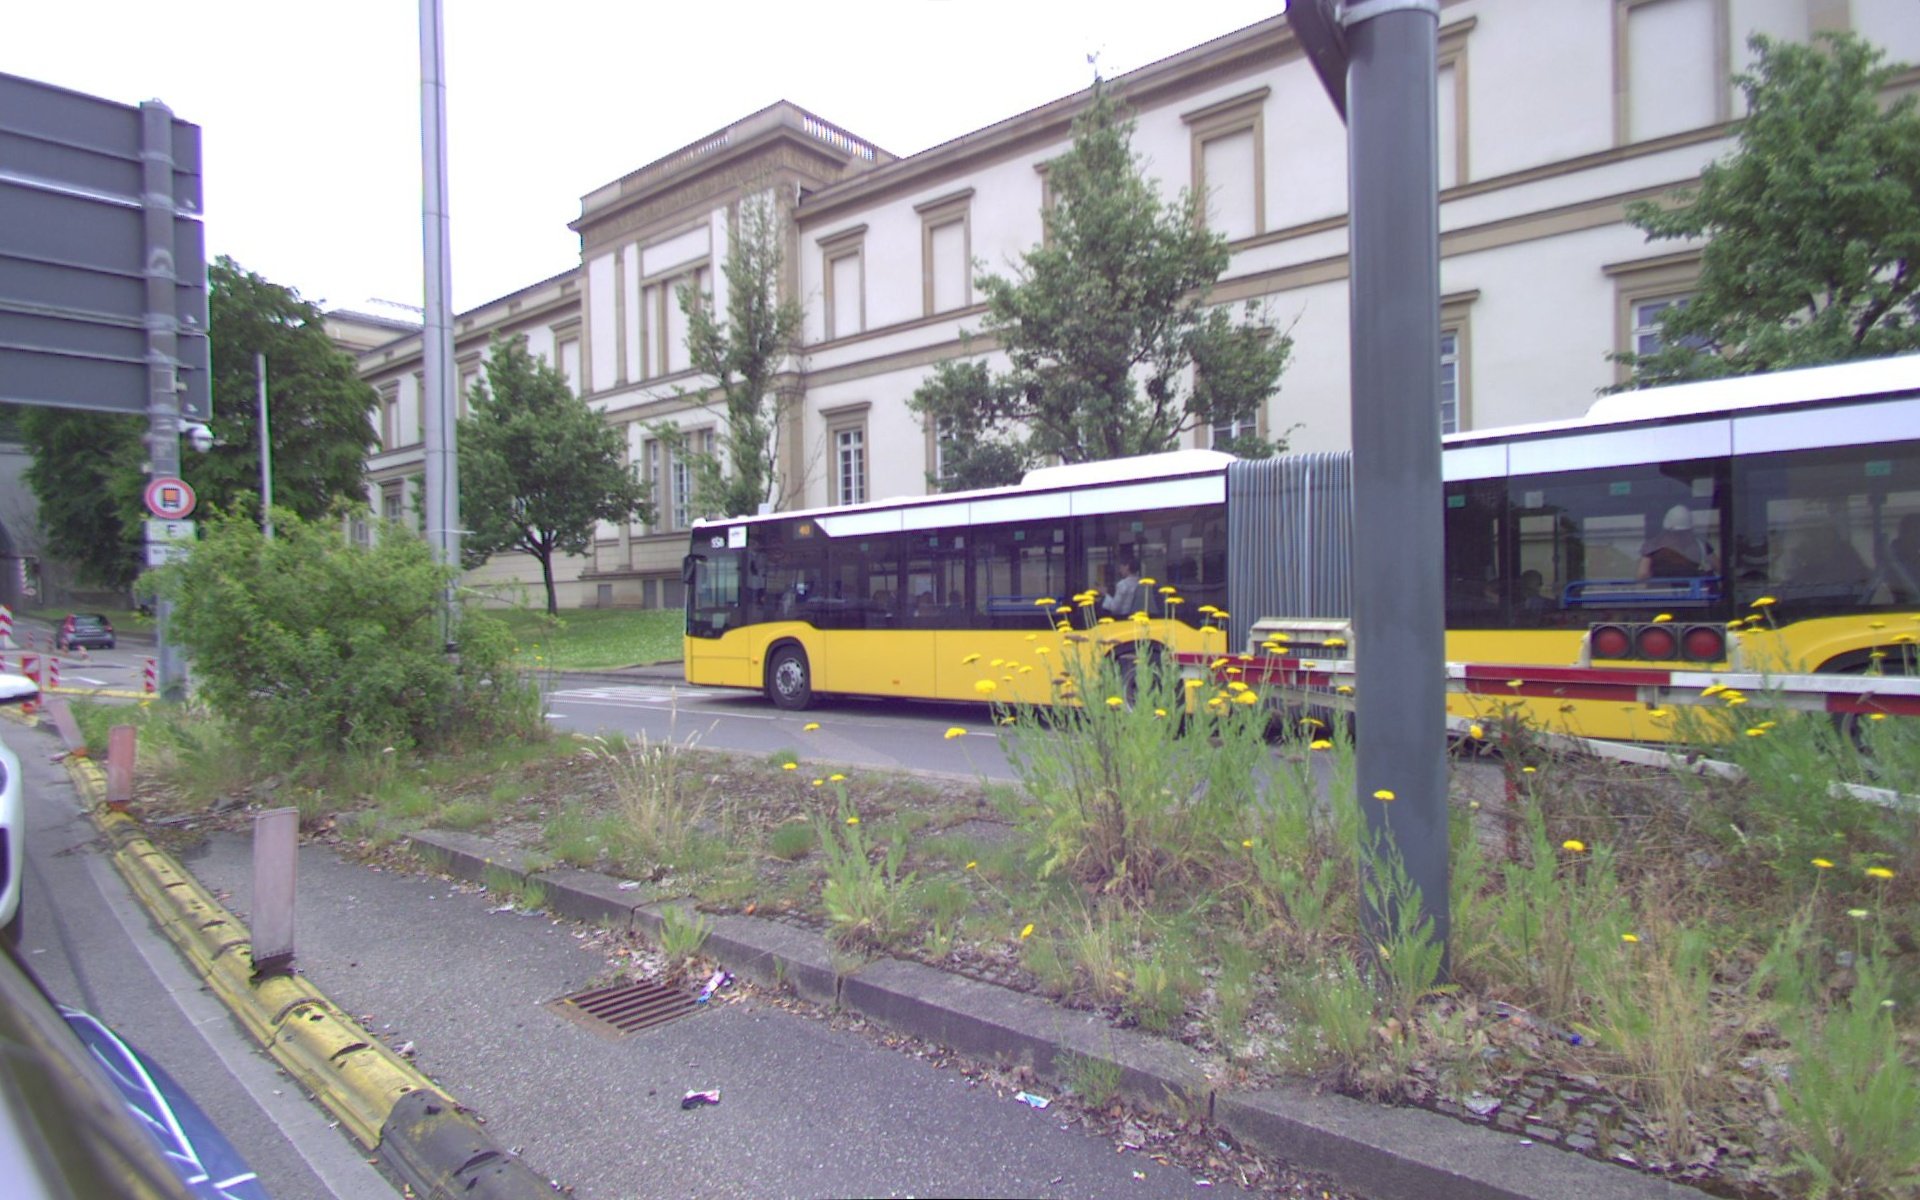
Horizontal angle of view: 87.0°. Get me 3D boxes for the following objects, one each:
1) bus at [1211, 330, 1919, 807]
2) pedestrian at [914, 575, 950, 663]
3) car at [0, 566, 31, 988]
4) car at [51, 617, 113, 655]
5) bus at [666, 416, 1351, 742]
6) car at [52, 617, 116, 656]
[{"bbox_3d":[6.861,-0.221,8.036,9.116,3.137,2.816,-1,0,41],"label":"bus"},{"bbox_3d":[-0.566,0.377,20.126,0.578,1.708,0.460,-1,0,-15],"label":"pedestrian"},{"bbox_3d":[-5.650,0.728,4.542,3.881,1.603,1.824,-2,0,42],"label":"car"},{"bbox_3d":[-37.703,1.516,43.449,2.820,1.563,1.520,-1,-1,38],"label":"car"},{"bbox_3d":[-0.035,-0.134,14.001,9.741,3.137,2.817,-1,0,40],"label":"bus"},{"bbox_3d":[-37.944,1.571,43.801,3.881,1.603,1.645,-2,-1,42],"label":"car"}]
